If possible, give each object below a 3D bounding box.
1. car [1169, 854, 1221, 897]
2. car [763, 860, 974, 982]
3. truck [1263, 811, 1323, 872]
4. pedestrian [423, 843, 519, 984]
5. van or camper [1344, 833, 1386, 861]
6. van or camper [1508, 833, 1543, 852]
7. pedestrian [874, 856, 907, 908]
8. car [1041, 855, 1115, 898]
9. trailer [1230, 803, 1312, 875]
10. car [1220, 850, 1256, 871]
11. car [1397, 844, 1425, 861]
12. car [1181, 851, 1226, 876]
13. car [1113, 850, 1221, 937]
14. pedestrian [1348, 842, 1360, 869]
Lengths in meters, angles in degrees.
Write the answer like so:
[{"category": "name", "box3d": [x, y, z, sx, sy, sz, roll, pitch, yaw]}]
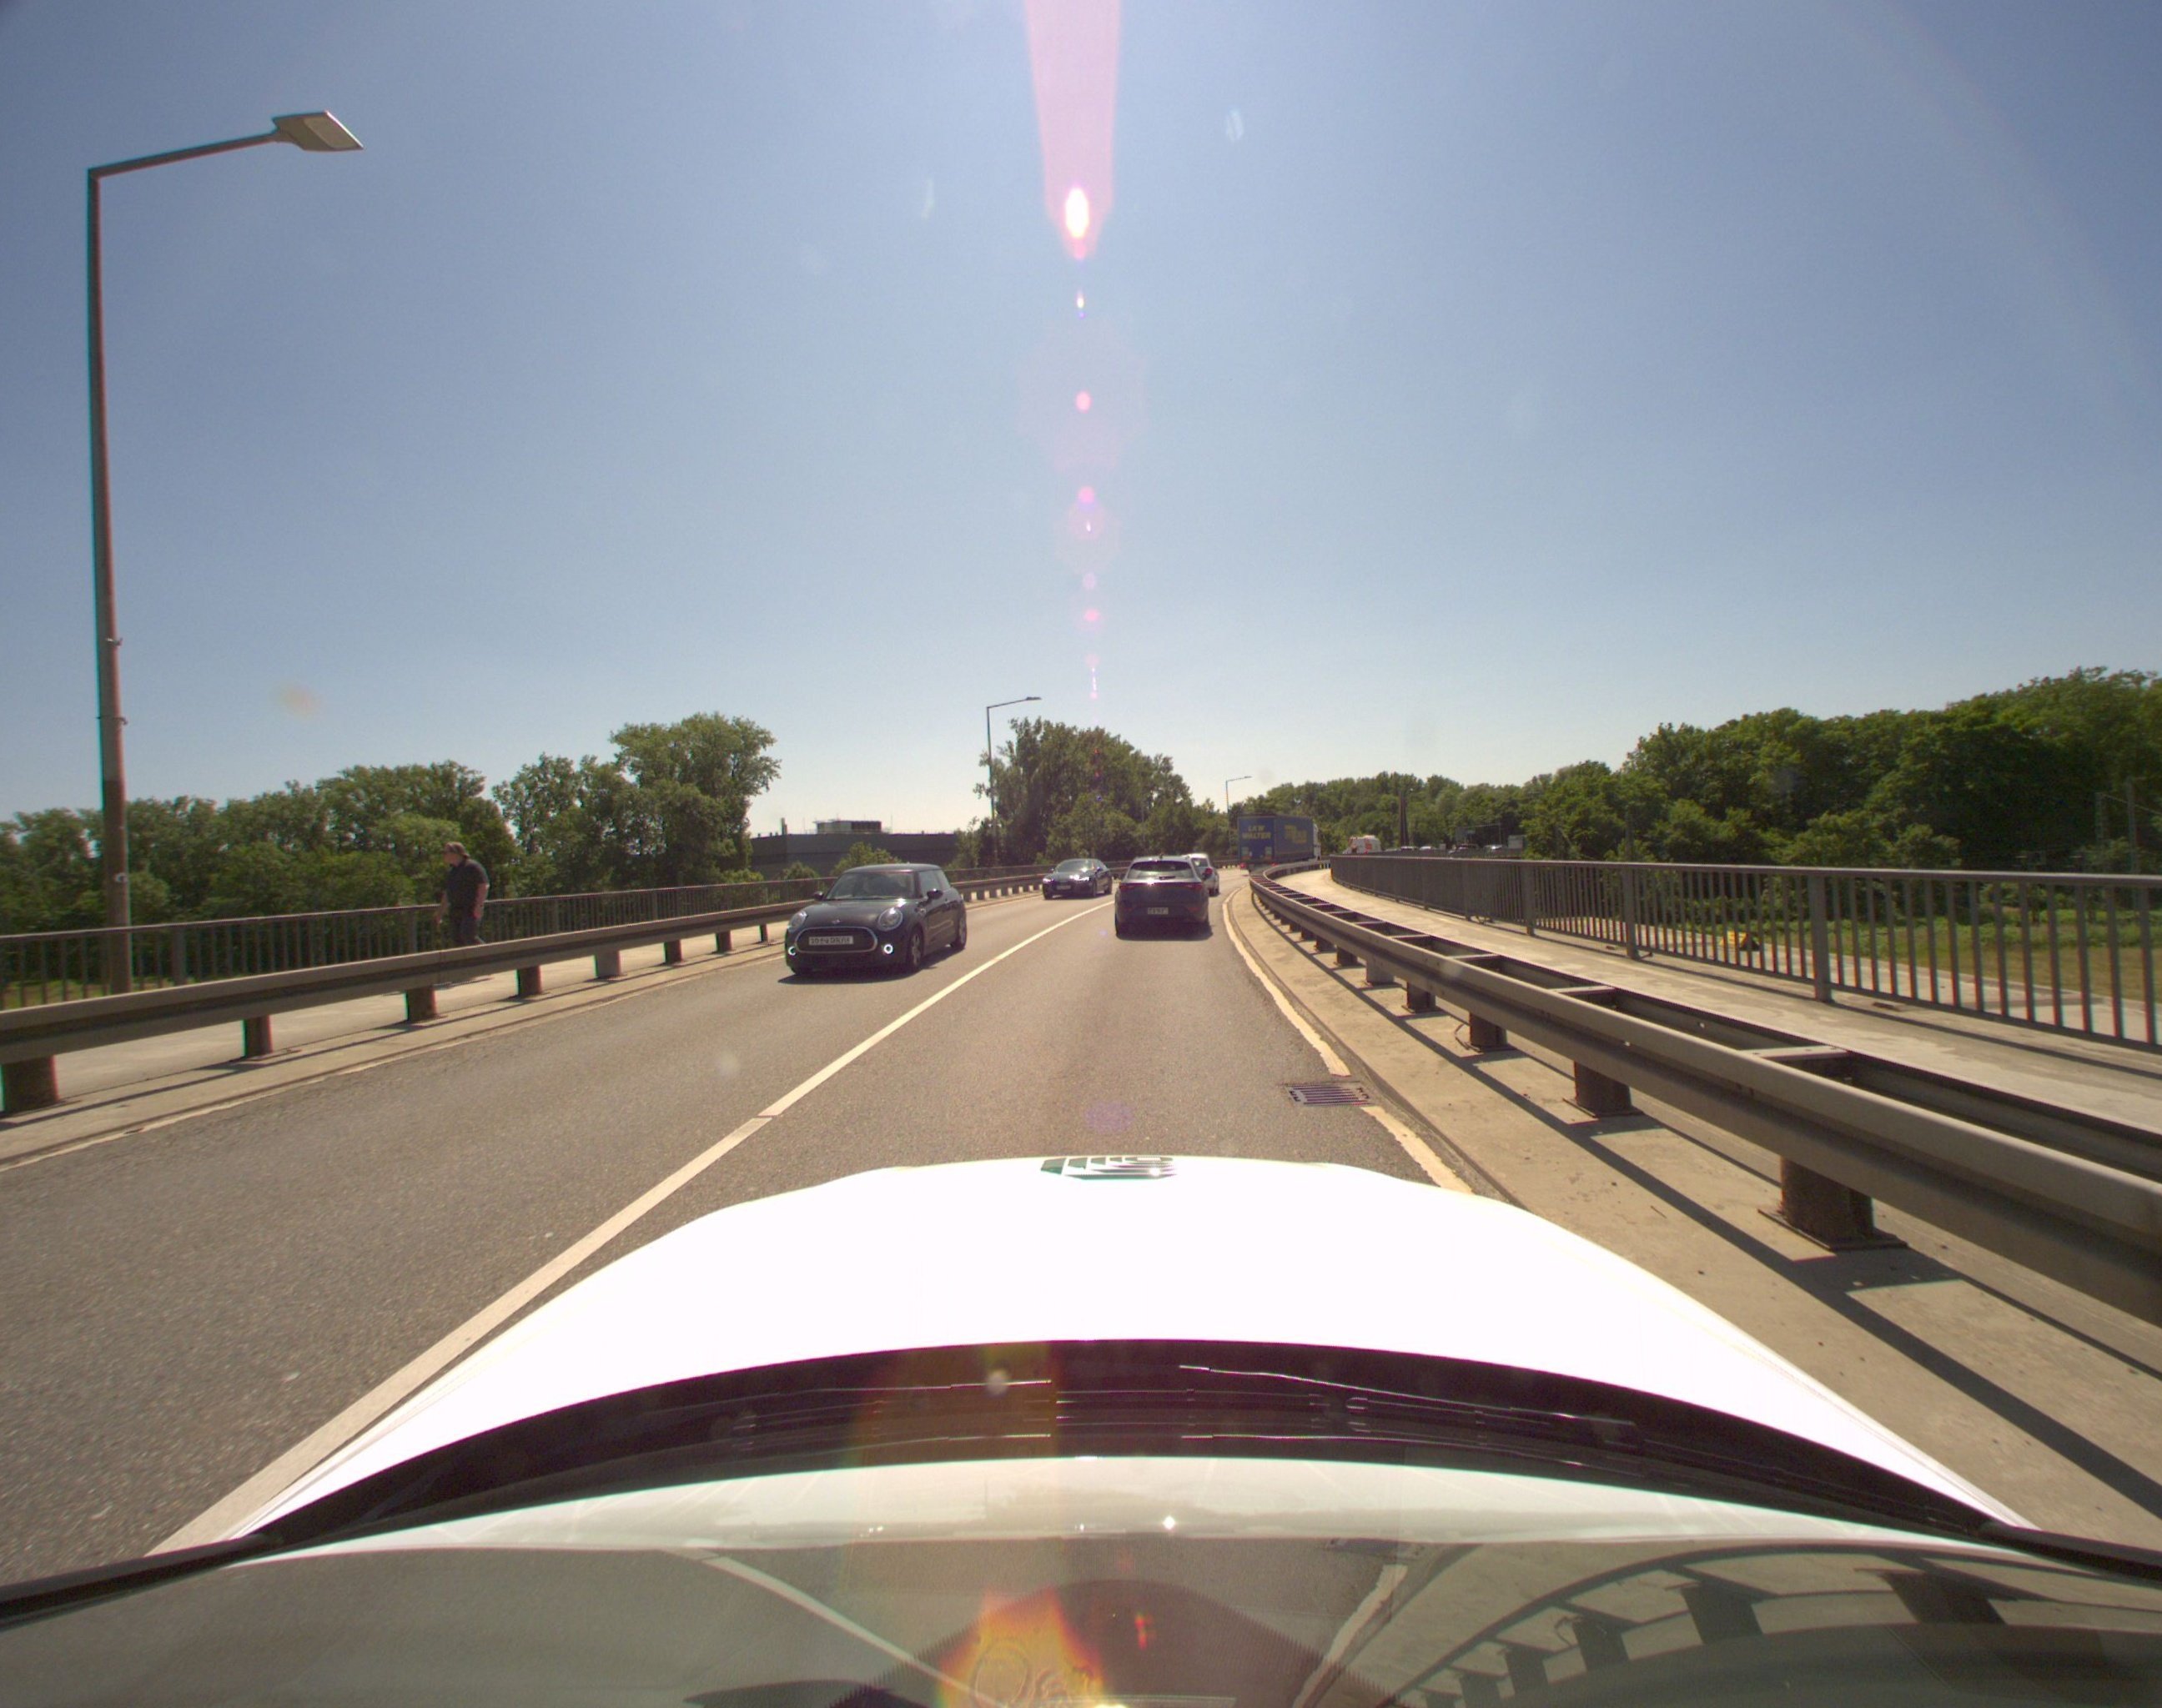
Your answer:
[{"category": "car", "box3d": [4.199, 0.738, 29.724, 1.582, 1.461, 3.557, 0, 0, 13]}, {"category": "car", "box3d": [-2.877, 0.852, 11.926, 1.781, 1.419, 3.778, -3, -1, 4]}, {"category": "truck", "box3d": [17.006, -0.908, 64.958, 3.141, 4.585, 7.439, -1, -1, 26]}, {"category": "pedestrian", "box3d": [-8.014, 0.763, 10.732, 0.635, 1.782, 0.812, -1, -1, 2]}, {"category": "van or camper", "box3d": [28.532, -0.749, 81.642, 2.181, 2.711, 5.963, -1, 0, 37]}, {"category": "van or camper", "box3d": [66.966, -1.731, 122.734, 4.978, 2.292, 2.467, 4, 2, -34]}, {"category": "pedestrian", "box3d": [-5.873, 0.859, 25.145, 0.710, 1.561, 0.696, -3, -1, 11]}, {"category": "car", "box3d": [-0.010, 0.796, 29.943, 1.778, 1.415, 4.589, -2, -1, 11]}, {"category": "trailer", "box3d": [13.893, -0.941, 58.399, 3.105, 4.614, 13.022, 0, 0, 25]}, {"category": "car", "box3d": [12.737, 0.482, 65.863, 1.699, 1.615, 4.144, -2, -1, 28]}, {"category": "car", "box3d": [37.189, -0.127, 91.753, 1.870, 1.850, 4.025, -1, -1, 37]}, {"category": "car", "box3d": [7.967, 0.594, 52.740, 1.709, 1.483, 3.889, -3, -1, 26]}, {"category": "car", "box3d": [1.624, 0.680, 16.016, 1.837, 1.499, 3.762, -1, 0, 4]}, {"category": "pedestrian", "box3d": [20.623, 0.106, 61.484, 0.730, 1.967, 0.739, -1, -1, 27]}]
